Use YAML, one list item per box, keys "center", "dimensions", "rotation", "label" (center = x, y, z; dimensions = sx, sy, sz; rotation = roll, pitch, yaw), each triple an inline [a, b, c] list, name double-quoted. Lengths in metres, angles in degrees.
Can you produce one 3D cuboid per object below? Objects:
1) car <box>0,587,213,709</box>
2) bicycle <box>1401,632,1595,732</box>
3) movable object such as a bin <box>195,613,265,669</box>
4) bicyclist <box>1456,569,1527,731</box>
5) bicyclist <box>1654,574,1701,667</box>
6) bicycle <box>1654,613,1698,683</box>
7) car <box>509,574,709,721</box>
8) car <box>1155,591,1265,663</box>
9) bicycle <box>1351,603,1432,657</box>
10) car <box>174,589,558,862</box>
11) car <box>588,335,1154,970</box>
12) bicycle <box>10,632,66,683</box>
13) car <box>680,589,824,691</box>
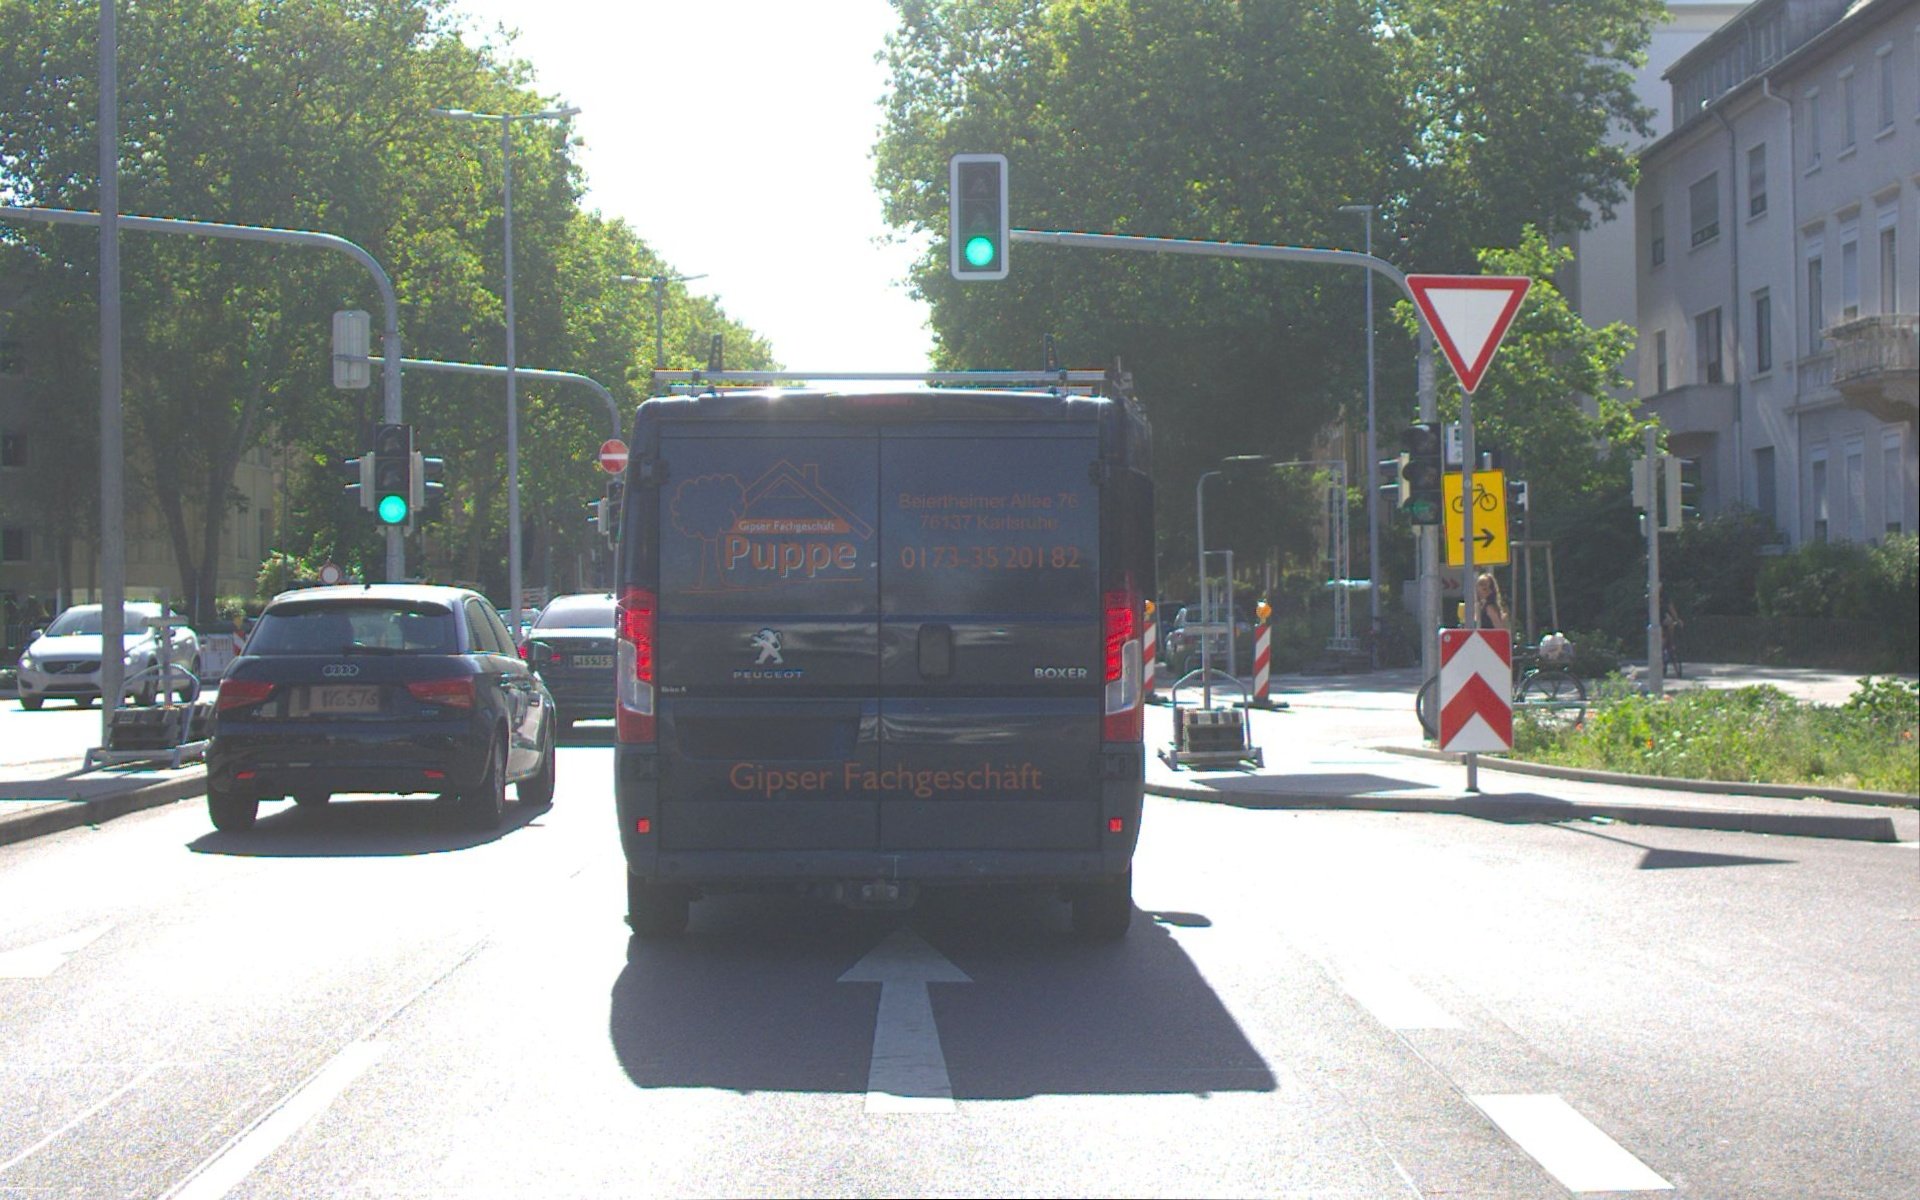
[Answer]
- center: [-12.163, 0.640, 48.943]
  dimensions: [1.993, 1.448, 4.391]
  rotation: [2, 2, 1]
  label: "car"
- center: [5.735, 0.872, 36.715]
  dimensions: [1.962, 1.022, 0.605]
  rotation: [1, 1, 0]
  label: "bicycle"
- center: [-17.784, 0.998, 83.803]
  dimensions: [1.410, 1.333, 1.156]
  rotation: [-1, 0, 2]
  label: "movable object such as a bin"
- center: [5.677, 0.523, 36.768]
  dimensions: [0.603, 1.703, 0.858]
  rotation: [-1, 0, 0]
  label: "bicyclist"
- center: [11.683, 0.325, 56.001]
  dimensions: [0.724, 1.494, 0.871]
  rotation: [-1, 0, 12]
  label: "bicyclist"
- center: [11.649, 0.778, 55.953]
  dimensions: [0.689, 1.094, 1.686]
  rotation: [-1, 0, 11]
  label: "bicycle"
- center: [-3.536, 0.462, 35.212]
  dimensions: [1.746, 1.402, 4.000]
  rotation: [1, 0, -2]
  label: "car"
- center: [5.325, 0.553, 73.708]
  dimensions: [1.852, 1.474, 4.942]
  rotation: [0, 0, -1]
  label: "car"
- center: [8.167, 0.564, 64.970]
  dimensions: [0.588, 1.002, 2.127]
  rotation: [0, 0, 35]
  label: "bicycle"
- center: [-3.499, 0.687, 20.910]
  dimensions: [1.746, 1.402, 4.001]
  rotation: [1, 1, -2]
  label: "car"
- center: [-0.357, 0.173, 14.682]
  dimensions: [2.095, 2.347, 3.933]
  rotation: [0, 1, -1]
  label: "car"
- center: [-19.287, 1.193, 71.932]
  dimensions: [0.627, 1.033, 1.879]
  rotation: [0, 0, 1]
  label: "bicycle"
- center: [-3.197, 0.588, 53.623]
  dimensions: [1.911, 1.439, 4.602]
  rotation: [1, 1, 1]
  label: "car"
